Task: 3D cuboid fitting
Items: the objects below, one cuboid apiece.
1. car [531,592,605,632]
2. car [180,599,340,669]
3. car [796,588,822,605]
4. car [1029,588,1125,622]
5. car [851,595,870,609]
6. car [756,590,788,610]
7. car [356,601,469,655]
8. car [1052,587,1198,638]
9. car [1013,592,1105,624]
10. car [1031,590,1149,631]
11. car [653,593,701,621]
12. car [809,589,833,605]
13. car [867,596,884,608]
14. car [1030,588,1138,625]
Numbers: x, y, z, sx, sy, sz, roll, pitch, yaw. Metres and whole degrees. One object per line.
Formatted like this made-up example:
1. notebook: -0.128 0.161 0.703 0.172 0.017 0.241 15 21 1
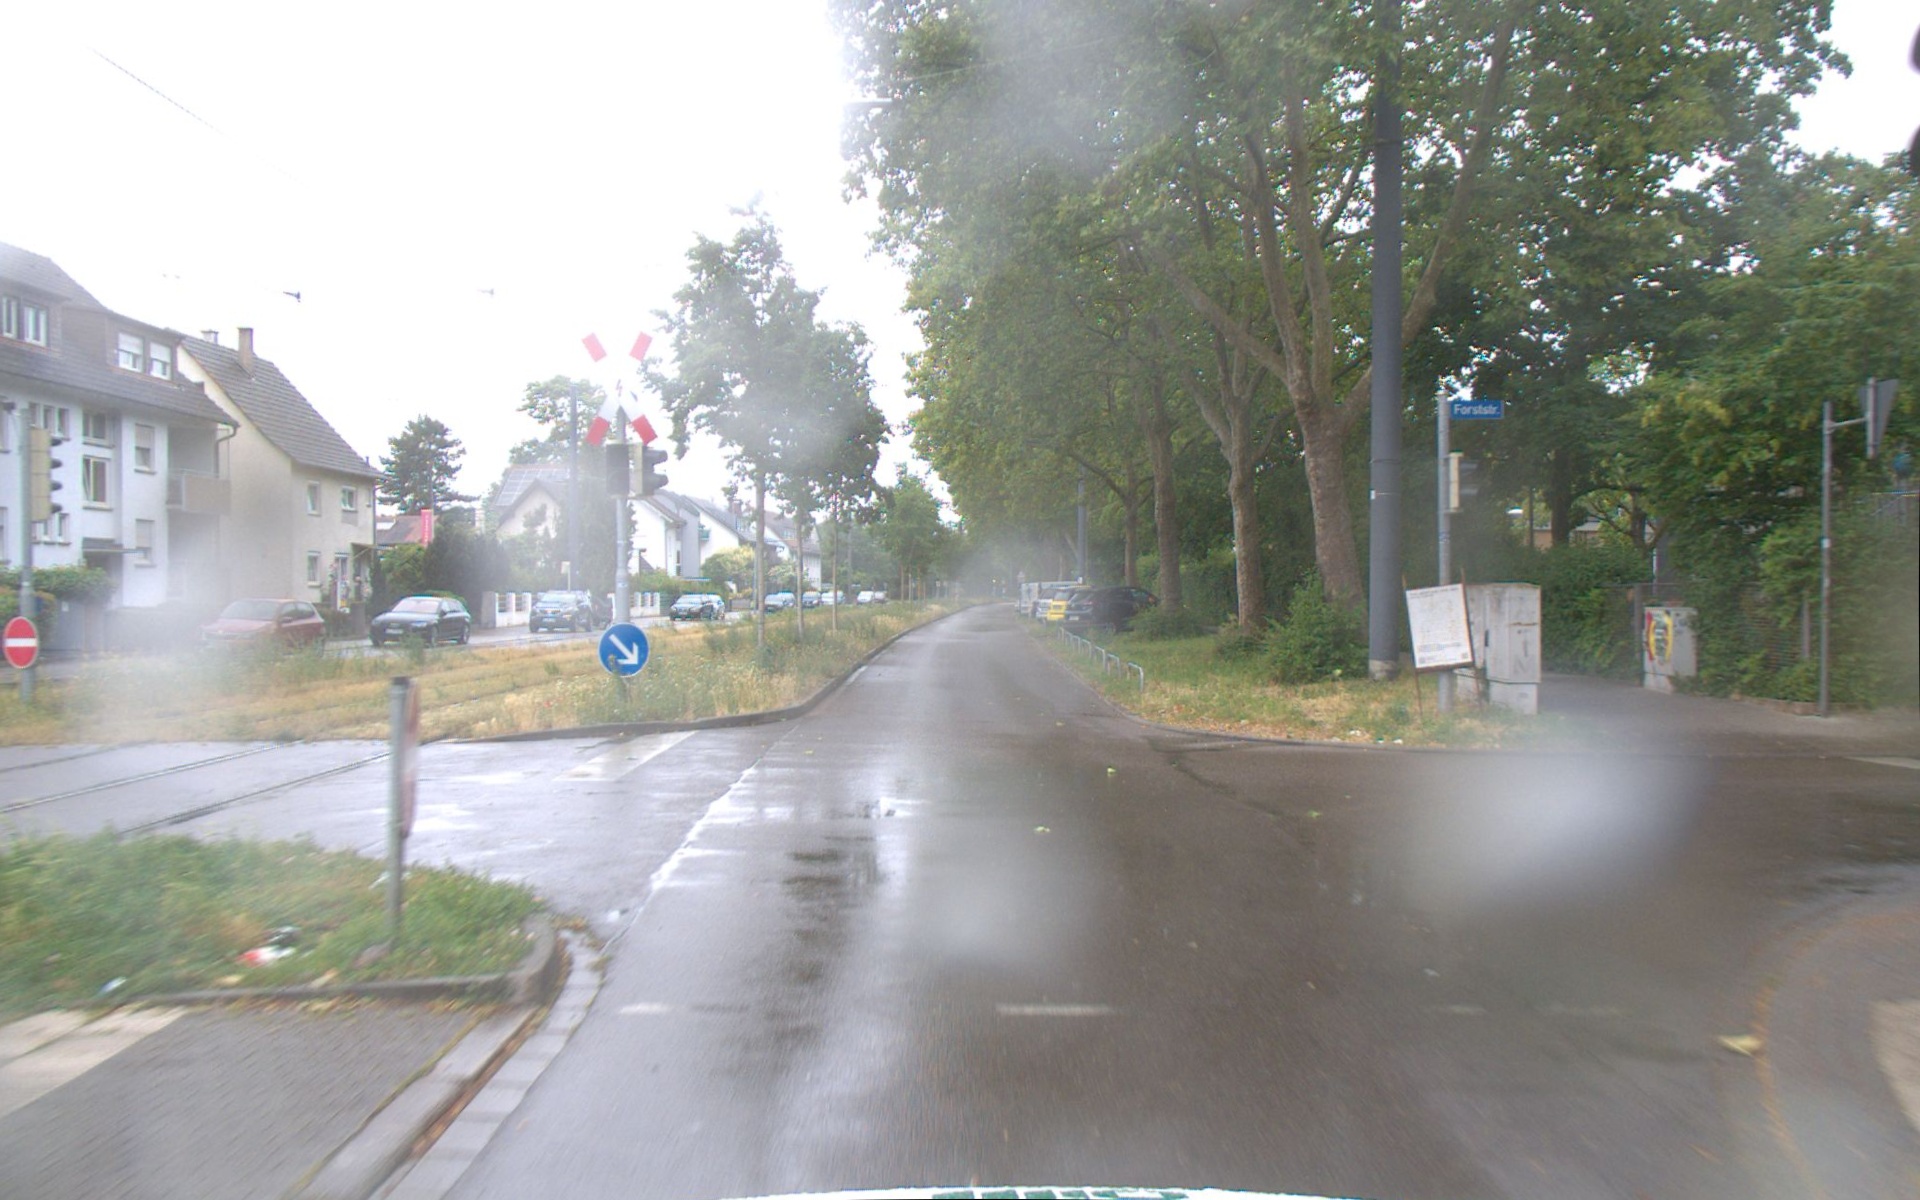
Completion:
1. car: -15.618 0.469 66.052 1.888 1.512 4.001 0 0 2
2. car: -16.090 0.761 38.237 1.888 1.512 4.001 0 0 2
3. car: -13.647 -0.289 149.355 1.888 1.512 4.001 0 0 2
4. car: 5.326 0.222 75.258 3.922 1.478 1.991 0 0 -16
5. car: -11.523 0.243 191.436 1.888 1.512 4.001 0 0 2
6. car: -14.442 0.019 127.109 1.888 1.512 4.001 0 0 2
7. car: -16.049 0.810 48.710 1.888 1.512 4.001 0 0 2
8. car: 4.903 0.379 49.324 3.922 1.478 1.991 0 0 -16
9. car: 4.631 0.386 77.571 3.922 1.478 1.991 0 0 -16
10. car: 4.789 0.393 61.037 3.922 1.478 1.991 0 0 -16
11. car: -15.832 0.406 92.651 1.888 1.512 4.001 0 0 2
12. car: -13.558 -0.318 161.437 1.888 1.512 4.001 0 0 2
13. car: -10.474 0.277 205.439 1.888 1.512 4.001 0 0 2
14. car: 5.013 0.268 67.036 3.922 1.478 1.991 0 0 -16
